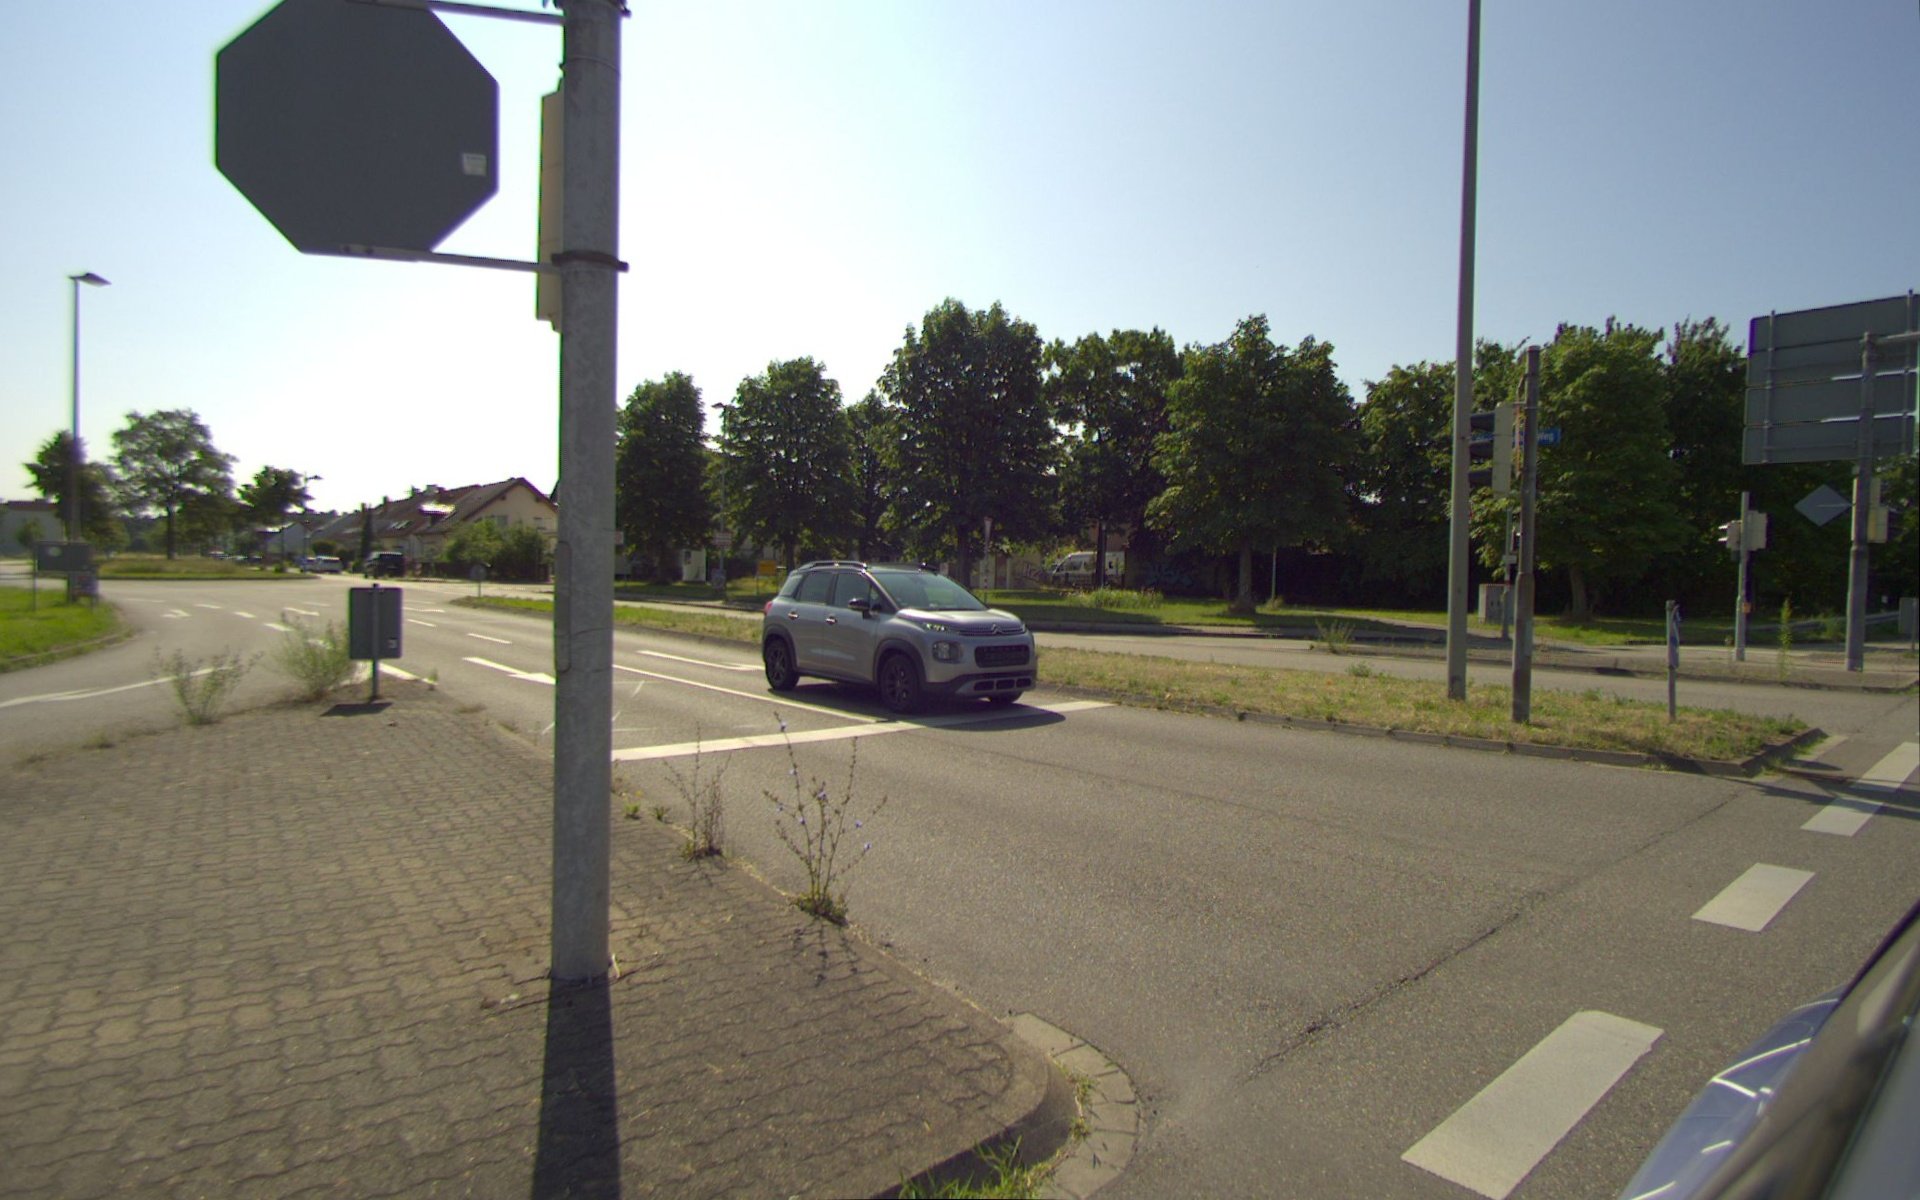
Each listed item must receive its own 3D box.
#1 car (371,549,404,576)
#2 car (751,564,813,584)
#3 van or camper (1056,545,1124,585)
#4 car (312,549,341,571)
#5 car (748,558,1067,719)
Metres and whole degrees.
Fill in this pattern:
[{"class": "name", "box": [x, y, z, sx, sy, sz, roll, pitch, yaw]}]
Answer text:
[{"class": "car", "box": [-40.736, -2.666, 72.033, 1.960, 1.812, 4.006, 0, 2, -29]}, {"class": "car", "box": [-12.284, -1.791, 69.919, 3.929, 1.304, 1.731, -1, 2, -40]}, {"class": "van or camper", "box": [9.593, -2.581, 74.846, 1.966, 2.866, 4.806, 0, 2, -43]}, {"class": "car", "box": [-57.874, -3.628, 92.444, 1.963, 1.950, 3.998, -1, 1, -37]}, {"class": "car", "box": [-0.787, 0.309, 12.193, 1.712, 1.583, 4.060, -1, 2, -41]}]
